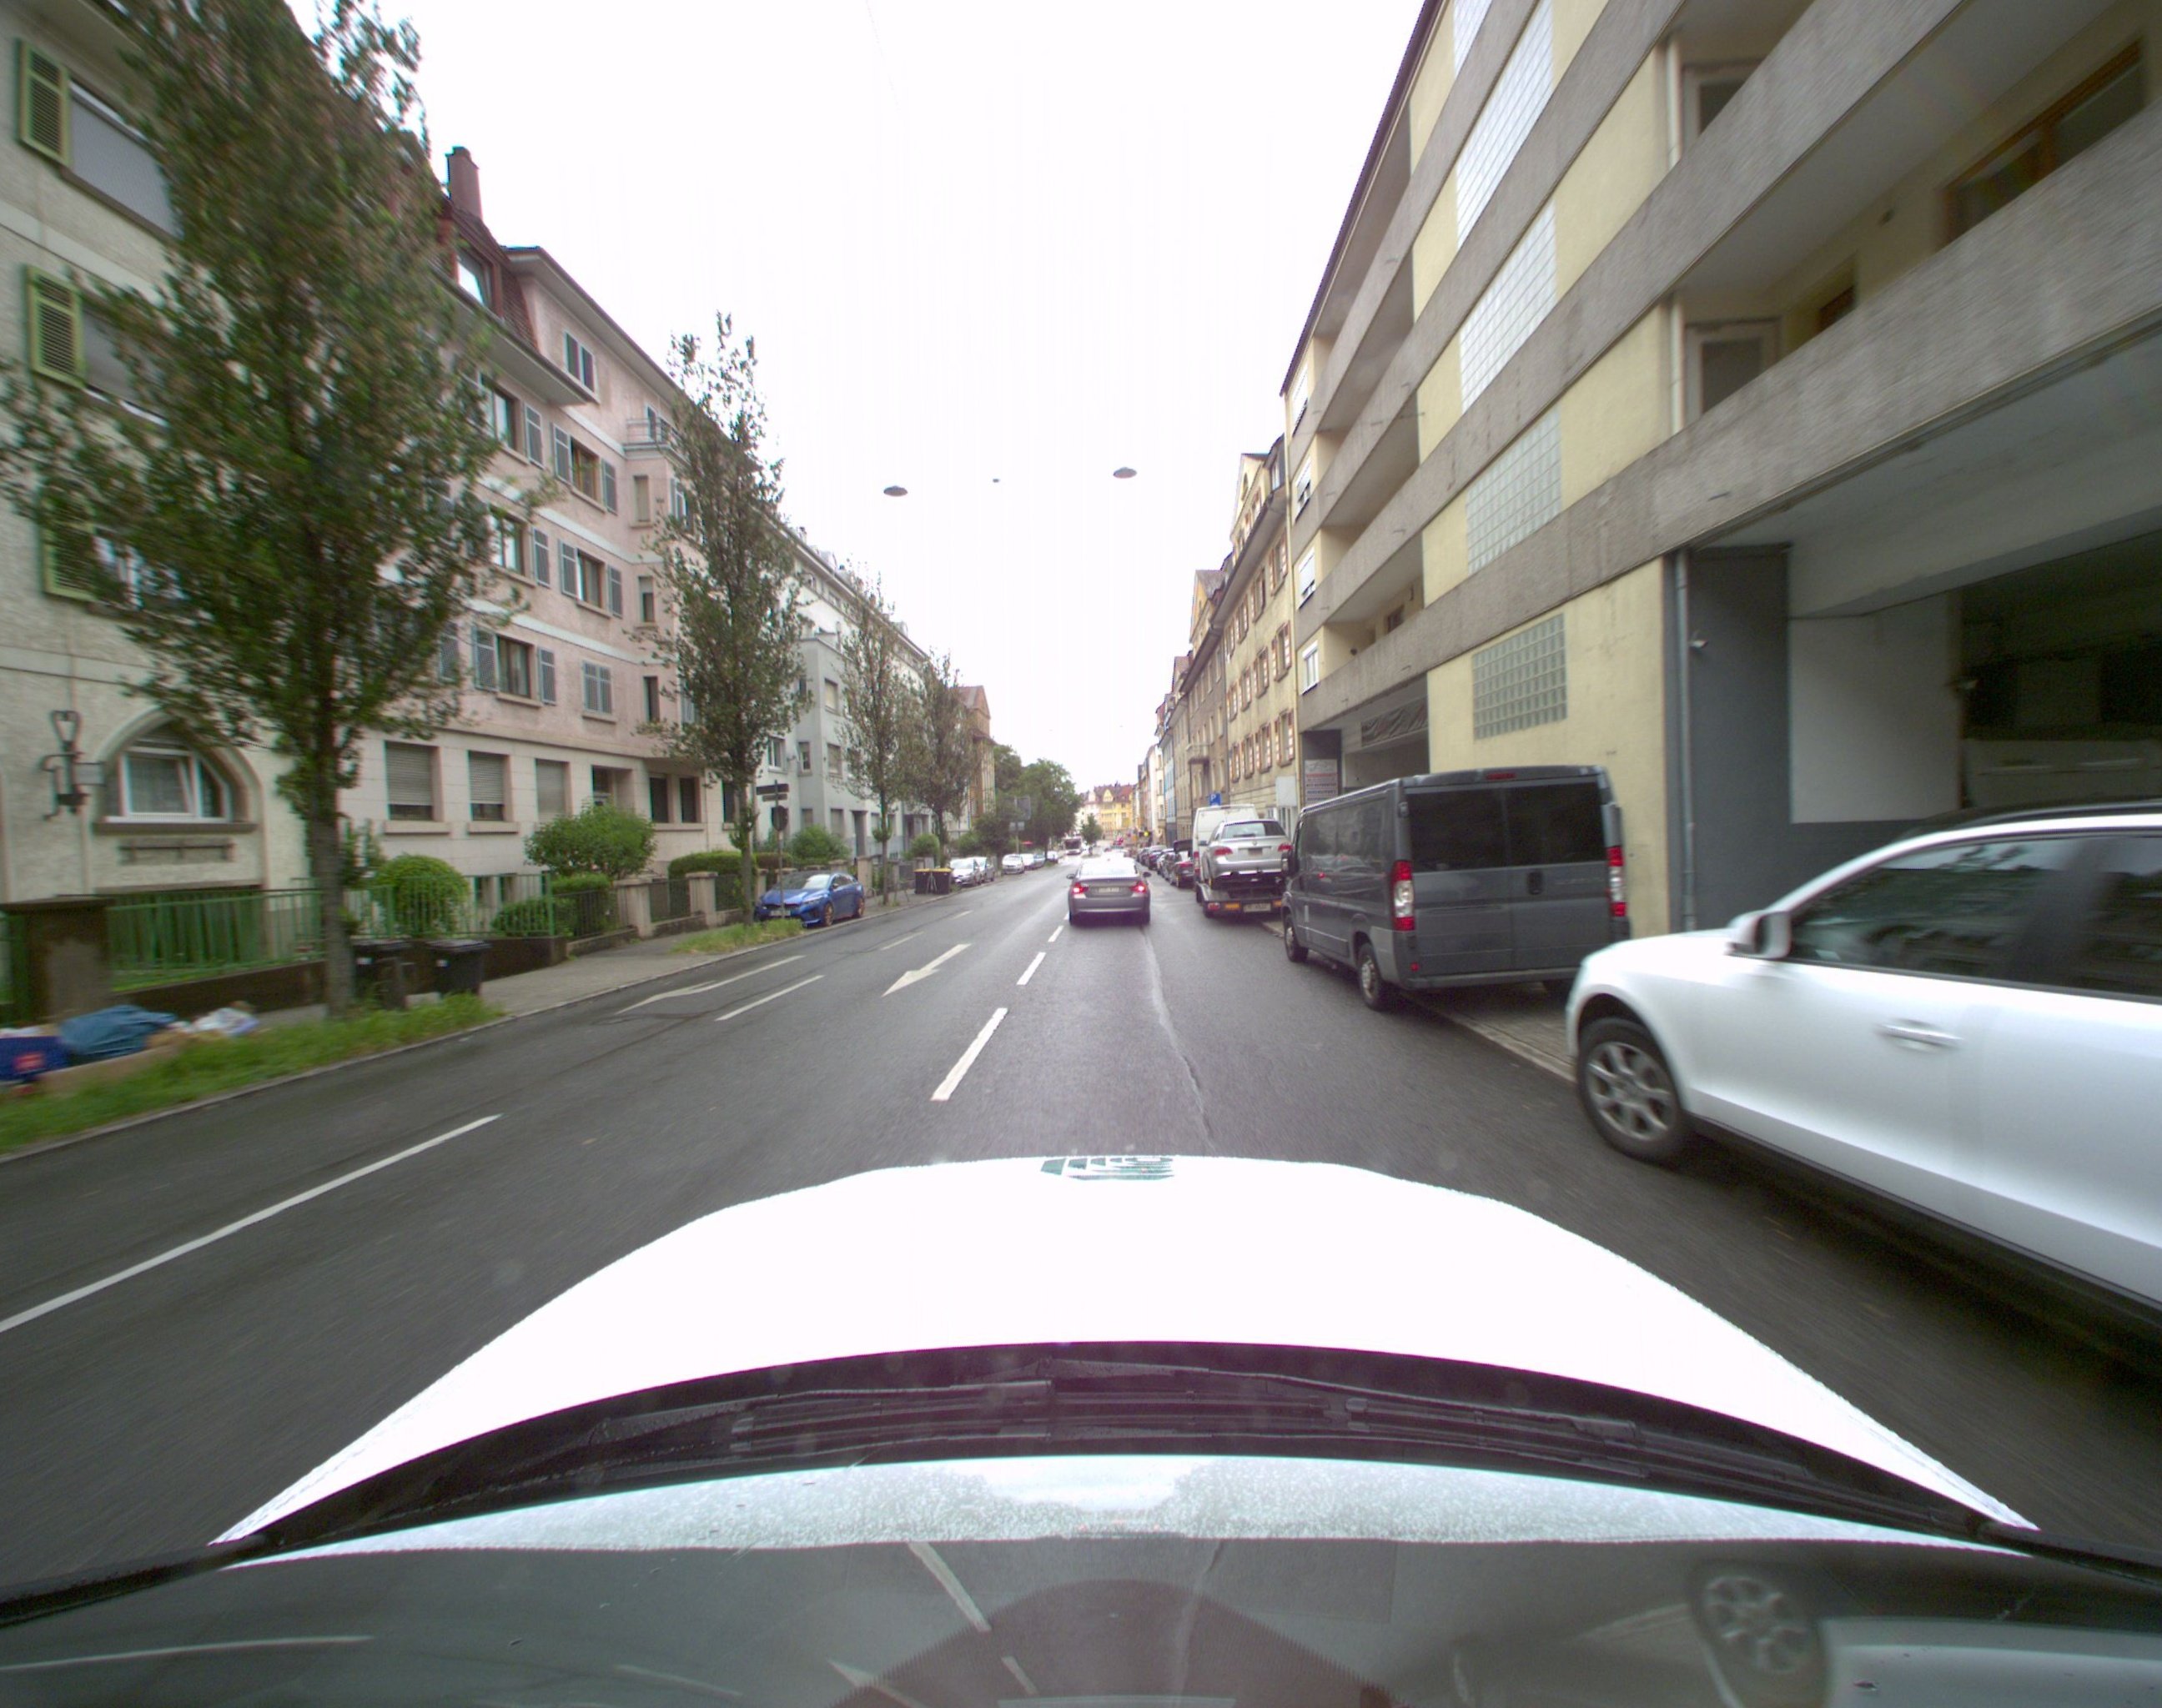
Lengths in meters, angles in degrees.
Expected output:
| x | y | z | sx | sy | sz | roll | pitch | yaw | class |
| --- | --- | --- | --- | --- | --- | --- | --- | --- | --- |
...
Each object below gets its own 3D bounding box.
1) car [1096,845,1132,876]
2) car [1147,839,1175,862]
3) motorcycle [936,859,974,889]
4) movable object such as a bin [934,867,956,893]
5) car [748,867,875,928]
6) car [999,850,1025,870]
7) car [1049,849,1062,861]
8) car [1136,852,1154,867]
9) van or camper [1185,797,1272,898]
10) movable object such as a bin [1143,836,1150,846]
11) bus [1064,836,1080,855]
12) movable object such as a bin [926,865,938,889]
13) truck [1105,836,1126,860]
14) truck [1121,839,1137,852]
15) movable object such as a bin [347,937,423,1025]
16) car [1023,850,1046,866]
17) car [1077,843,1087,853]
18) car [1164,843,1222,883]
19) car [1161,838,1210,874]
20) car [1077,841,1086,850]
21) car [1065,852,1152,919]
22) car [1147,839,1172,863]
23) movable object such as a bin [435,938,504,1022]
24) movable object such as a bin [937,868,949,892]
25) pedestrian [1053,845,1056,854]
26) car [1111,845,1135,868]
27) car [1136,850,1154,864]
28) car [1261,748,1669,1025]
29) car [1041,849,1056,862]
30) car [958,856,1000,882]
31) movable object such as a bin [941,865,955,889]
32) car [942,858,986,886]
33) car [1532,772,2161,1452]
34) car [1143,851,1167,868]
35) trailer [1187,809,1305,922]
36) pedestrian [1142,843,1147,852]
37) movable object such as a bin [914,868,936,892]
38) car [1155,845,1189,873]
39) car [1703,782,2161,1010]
| x | y | z | sx | sy | sz | roll | pitch | yaw | class |
| --- | --- | --- | --- | --- | --- | --- | --- | --- | --- |
| 1.557 | 0.331 | 39.799 | 1.597 | 1.420 | 3.287 | 1 | 0 | 0 | car |
| 5.983 | -0.262 | 61.318 | 1.783 | 1.548 | 4.229 | -3 | 0 | 3 | car |
| -5.934 | 0.942 | 38.276 | 1.788 | 1.315 | 0.746 | -2 | 0 | 43 | motorcycle |
| -5.851 | 1.113 | 35.033 | 0.821 | 1.058 | 0.484 | 1 | -1 | 3 | movable object such as a bin |
| -7.076 | 1.080 | 21.915 | 1.672 | 1.385 | 4.605 | -2 | -1 | 2 | car |
| -5.340 | 0.478 | 63.617 | 1.640 | 1.508 | 3.797 | -2 | 0 | 1 | car |
| -3.284 | 0.141 | 103.897 | 1.627 | 1.454 | 3.837 | -2 | 0 | -2 | car |
| 6.816 | 0.553 | 86.962 | 1.577 | 1.429 | 3.597 | -5 | 0 | 2 | car |
| 4.484 | -0.215 | 25.768 | 2.173 | 2.699 | 6.431 | -3 | 0 | 6 | van or camper |
| 11.767 | -2.354 | 146.151 | 1.119 | 1.702 | 1.433 | -3 | -1 | 0 | movable object such as a bin |
| -1.603 | -1.561 | 152.869 | 2.671 | 3.200 | 11.958 | 1 | 0 | 1 | bus |
| -6.729 | 1.034 | 36.717 | 0.470 | 1.058 | 0.482 | 1 | -1 | -7 | movable object such as a bin |
| 3.761 | -0.598 | 89.697 | 2.209 | 2.544 | 4.781 | 1 | 0 | 1 | truck |
| 8.166 | -1.498 | 139.114 | 2.210 | 2.116 | 4.648 | 2 | 0 | -3 | truck |
| -7.889 | 1.427 | 9.249 | 0.362 | 0.911 | 0.573 | 0 | -1 | 1 | movable object such as a bin |
| -4.203 | 0.350 | 73.699 | 1.676 | 1.390 | 3.912 | -1 | 0 | 3 | car |
| 0.188 | -1.357 | 175.942 | 1.986 | 2.014 | 4.000 | 1 | 0 | 1 | car |
| 4.580 | 0.353 | 33.825 | 1.772 | 1.479 | 4.188 | -2 | 0 | -1 | car |
| 5.005 | 0.073 | 39.584 | 1.771 | 1.479 | 4.589 | -4 | 0 | 1 | car |
| 0.203 | -1.938 | 188.726 | 1.986 | 2.014 | 4.001 | 1 | 0 | 1 | car |
| 0.618 | 0.650 | 18.108 | 1.749 | 1.362 | 3.166 | 0 | 0 | 2 | car |
| 6.491 | -0.262 | 67.704 | 1.784 | 1.817 | 4.082 | -3 | 0 | 2 | car |
| -7.088 | 1.450 | 9.458 | 0.362 | 0.890 | 0.573 | 0 | -1 | 1 | movable object such as a bin |
| -6.084 | 1.146 | 35.837 | 0.470 | 1.058 | 0.482 | 1 | -1 | -7 | movable object such as a bin |
| -4.738 | -0.834 | 147.175 | 0.542 | 1.709 | 0.465 | 1 | -1 | -5 | pedestrian |
| 2.664 | 0.159 | 51.469 | 1.429 | 1.356 | 3.765 | 1 | 0 | 4 | car |
| 7.470 | 0.343 | 95.582 | 1.810 | 1.557 | 4.296 | -4 | 0 | 3 | car |
| 3.736 | 0.257 | 9.388 | 2.146 | 2.149 | 5.512 | -3 | 0 | 2 | car |
| -3.944 | 0.203 | 98.986 | 1.648 | 1.454 | 3.942 | -2 | 1 | 0 | car |
| -5.987 | 0.847 | 48.251 | 1.593 | 1.451 | 3.894 | -2 | 0 | 6 | car |
| -5.997 | 1.032 | 36.688 | 0.522 | 1.058 | 0.484 | 1 | -1 | 3 | movable object such as a bin |
| -6.141 | 0.921 | 43.050 | 1.595 | 1.396 | 3.888 | -2 | 0 | 1 | car |
| 3.457 | 0.579 | 2.567 | 1.740 | 1.640 | 4.275 | -3 | 0 | 2 | car |
| 6.718 | 0.501 | 74.379 | 1.834 | 1.409 | 4.389 | -4 | 0 | 1 | car |
| 3.650 | 0.167 | 18.928 | 1.984 | 2.152 | 5.079 | -4 | 1 | 5 | trailer |
| 11.547 | -1.189 | 147.863 | 0.746 | 1.661 | 0.756 | 1 | -1 | 8 | pedestrian |
| -6.812 | 1.141 | 35.540 | 0.821 | 1.058 | 0.484 | 0 | -1 | 3 | movable object such as a bin |
| 5.468 | 0.280 | 49.560 | 1.626 | 1.638 | 4.195 | 1 | 0 | 1 | car |
| 8.371 | 0.254 | 7.568 | 4.234 | 1.655 | 1.790 | -3 | 0 | -13 | car |
